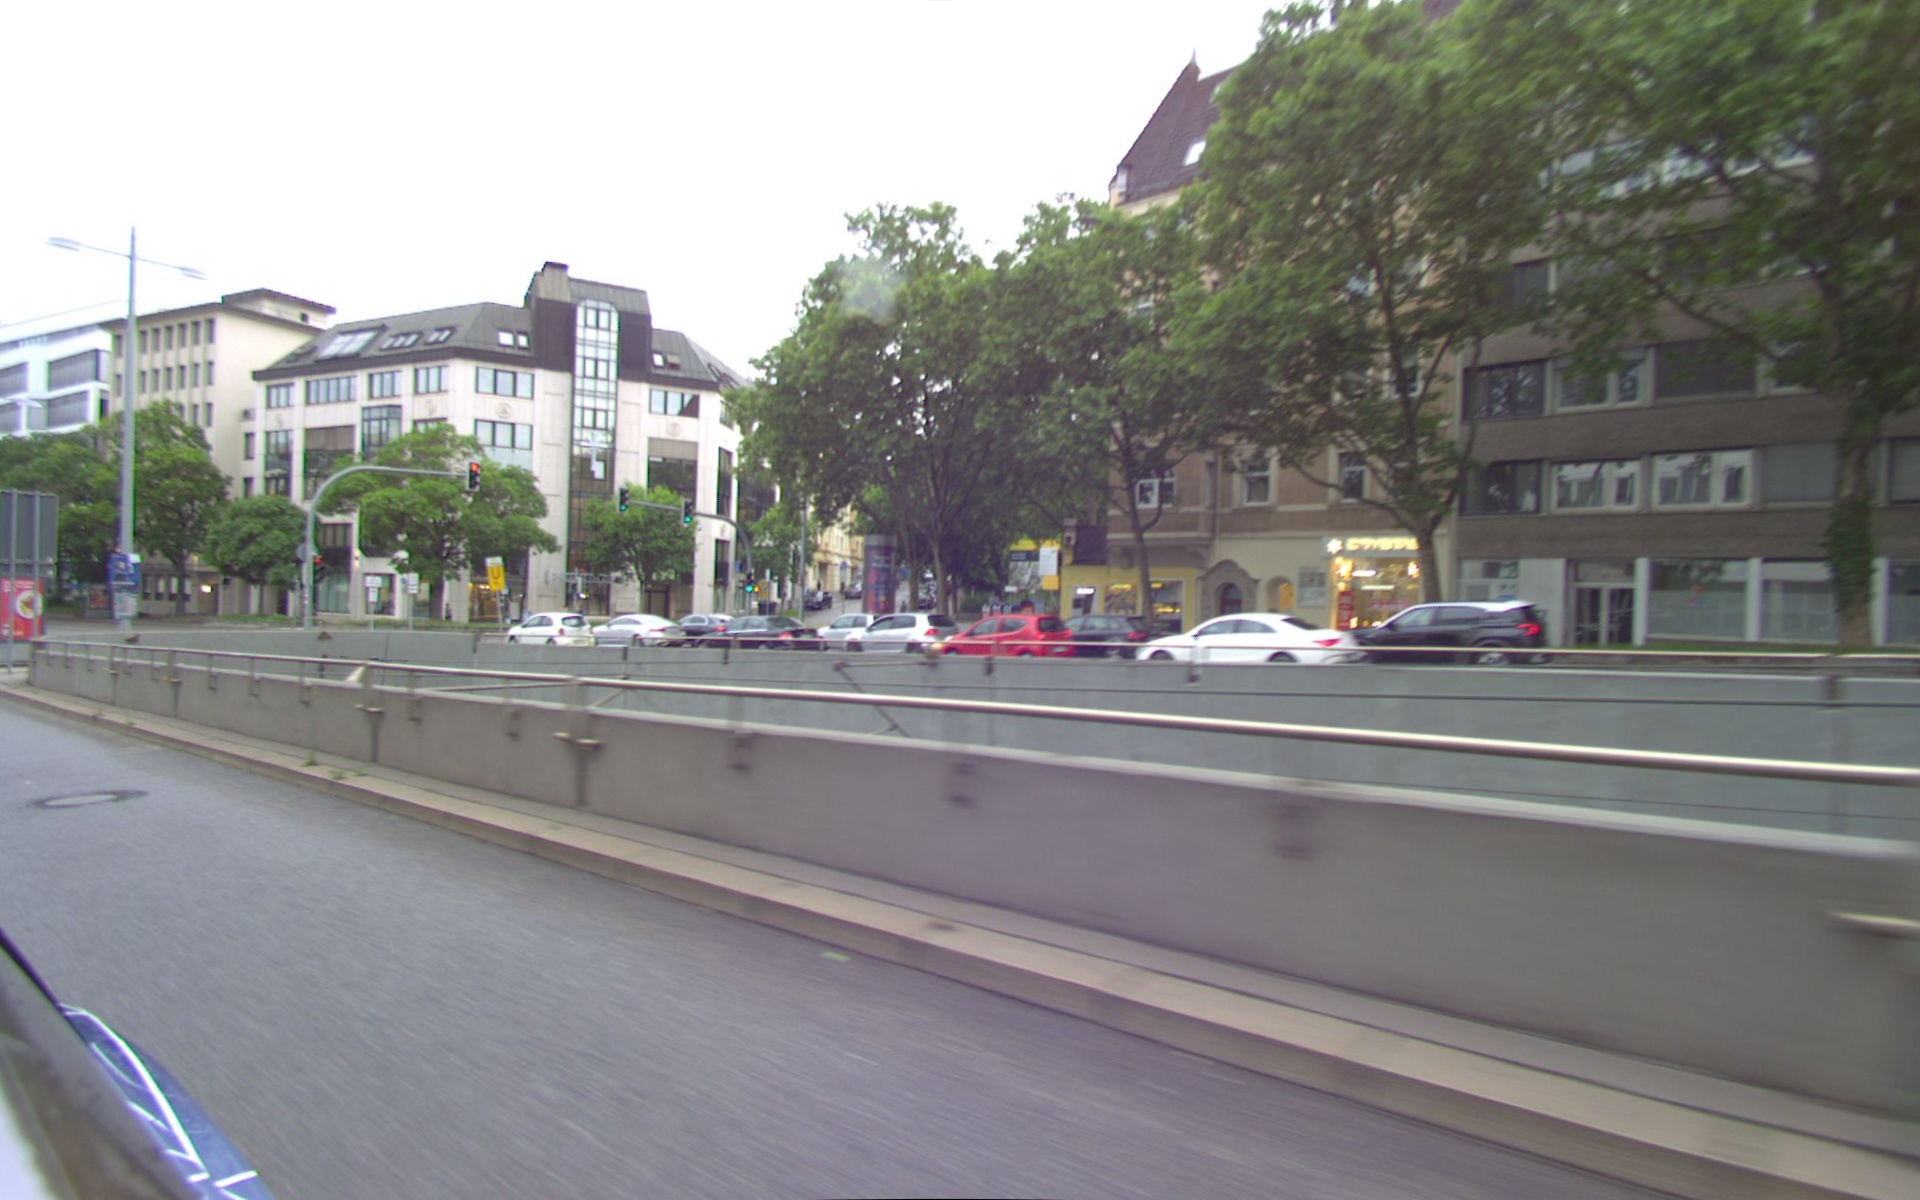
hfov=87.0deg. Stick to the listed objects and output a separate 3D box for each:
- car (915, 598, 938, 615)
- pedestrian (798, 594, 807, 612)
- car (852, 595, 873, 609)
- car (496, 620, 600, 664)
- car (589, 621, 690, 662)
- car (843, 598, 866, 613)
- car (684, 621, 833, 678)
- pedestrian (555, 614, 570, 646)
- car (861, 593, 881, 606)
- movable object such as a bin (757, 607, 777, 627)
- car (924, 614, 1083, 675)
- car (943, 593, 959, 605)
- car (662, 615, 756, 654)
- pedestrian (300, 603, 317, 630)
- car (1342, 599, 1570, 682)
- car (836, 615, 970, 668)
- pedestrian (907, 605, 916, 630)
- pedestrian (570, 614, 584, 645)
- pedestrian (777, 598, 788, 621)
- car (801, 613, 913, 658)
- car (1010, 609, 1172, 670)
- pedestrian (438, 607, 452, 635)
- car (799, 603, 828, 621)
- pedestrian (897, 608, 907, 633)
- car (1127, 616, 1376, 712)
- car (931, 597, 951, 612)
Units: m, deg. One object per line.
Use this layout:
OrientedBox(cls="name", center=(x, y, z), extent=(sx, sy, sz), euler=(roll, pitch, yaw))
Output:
OrientedBox(cls="car", center=(-3.113, 0.596, 94.040), extent=(1.592, 1.473, 3.484), euler=(0, 0, 8))
OrientedBox(cls="pedestrian", center=(-14.774, 0.299, 95.171), extent=(0.643, 1.674, 0.647), euler=(-1, 0, 13))
OrientedBox(cls="car", center=(-10.932, 0.250, 113.780), extent=(1.777, 1.521, 3.996), euler=(-1, 0, 4))
OrientedBox(cls="car", center=(-15.657, 1.550, 38.372), extent=(3.990, 1.573, 1.779), euler=(0, -1, 35))
OrientedBox(cls="car", center=(-12.687, 1.594, 40.029), extent=(3.990, 1.522, 1.779), euler=(0, -1, 35))
OrientedBox(cls="car", center=(-11.308, 0.544, 108.374), extent=(1.777, 1.521, 3.996), euler=(-1, 0, 4))
OrientedBox(cls="car", center=(-6.268, 1.472, 31.187), extent=(4.828, 1.569, 1.777), euler=(0, -1, 38))
OrientedBox(cls="pedestrian", center=(-23.484, 1.764, 59.809), extent=(0.582, 1.823, 0.675), euler=(-1, 0, -44))
OrientedBox(cls="car", center=(-10.481, -0.110, 119.497), extent=(1.777, 1.521, 3.996), euler=(-1, 0, 4))
OrientedBox(cls="movable object such as a bin", center=(-14.888, 1.294, 77.928), extent=(1.332, 1.519, 1.073), euler=(0, 0, -21))
OrientedBox(cls="car", center=(1.042, 1.063, 25.472), extent=(3.878, 1.411, 1.568), euler=(-1, -1, 40))
OrientedBox(cls="car", center=(-1.036, -0.122, 118.457), extent=(1.590, 1.473, 3.487), euler=(0, 0, 5))
OrientedBox(cls="car", center=(-10.597, 1.429, 42.598), extent=(3.994, 1.522, 1.777), euler=(0, 0, 38))
OrientedBox(cls="pedestrian", center=(-45.515, 1.146, 70.733), extent=(0.614, 1.798, 0.826), euler=(0, 0, 32))
OrientedBox(cls="car", center=(10.448, 0.828, 21.476), extent=(4.015, 1.592, 1.775), euler=(-2, -1, 41))
OrientedBox(cls="car", center=(-1.819, 1.251, 31.596), extent=(3.994, 1.522, 1.777), euler=(0, -1, 38))
OrientedBox(cls="pedestrian", center=(-3.570, 1.263, 74.508), extent=(0.623, 1.823, 0.675), euler=(0, 0, -8))
OrientedBox(cls="pedestrian", center=(-22.815, 1.751, 60.281), extent=(0.582, 1.823, 0.675), euler=(-1, 0, -44))
OrientedBox(cls="pedestrian", center=(-15.735, 0.870, 89.730), extent=(0.746, 2.029, 0.746), euler=(-1, 0, 4))
OrientedBox(cls="car", center=(-3.817, 1.322, 37.214), extent=(3.936, 1.522, 1.777), euler=(-2, -1, 38))
OrientedBox(cls="car", center=(3.506, 1.049, 27.335), extent=(3.994, 1.522, 1.777), euler=(-2, -1, 38))
OrientedBox(cls="pedestrian", center=(-33.368, 1.338, 65.564), extent=(0.524, 1.798, 0.598), euler=(0, 0, 32))
OrientedBox(cls="car", center=(-13.190, 1.053, 91.207), extent=(1.777, 1.521, 3.996), euler=(-1, 0, 4))
OrientedBox(cls="pedestrian", center=(-4.276, 1.484, 74.362), extent=(0.623, 1.823, 0.675), euler=(0, 0, -8))
OrientedBox(cls="car", center=(5.998, 1.236, 21.234), extent=(4.730, 1.783, 1.775), euler=(-1, -1, 42))
OrientedBox(cls="car", center=(-2.039, 0.476, 106.856), extent=(1.592, 1.473, 3.484), euler=(0, 0, 8))
